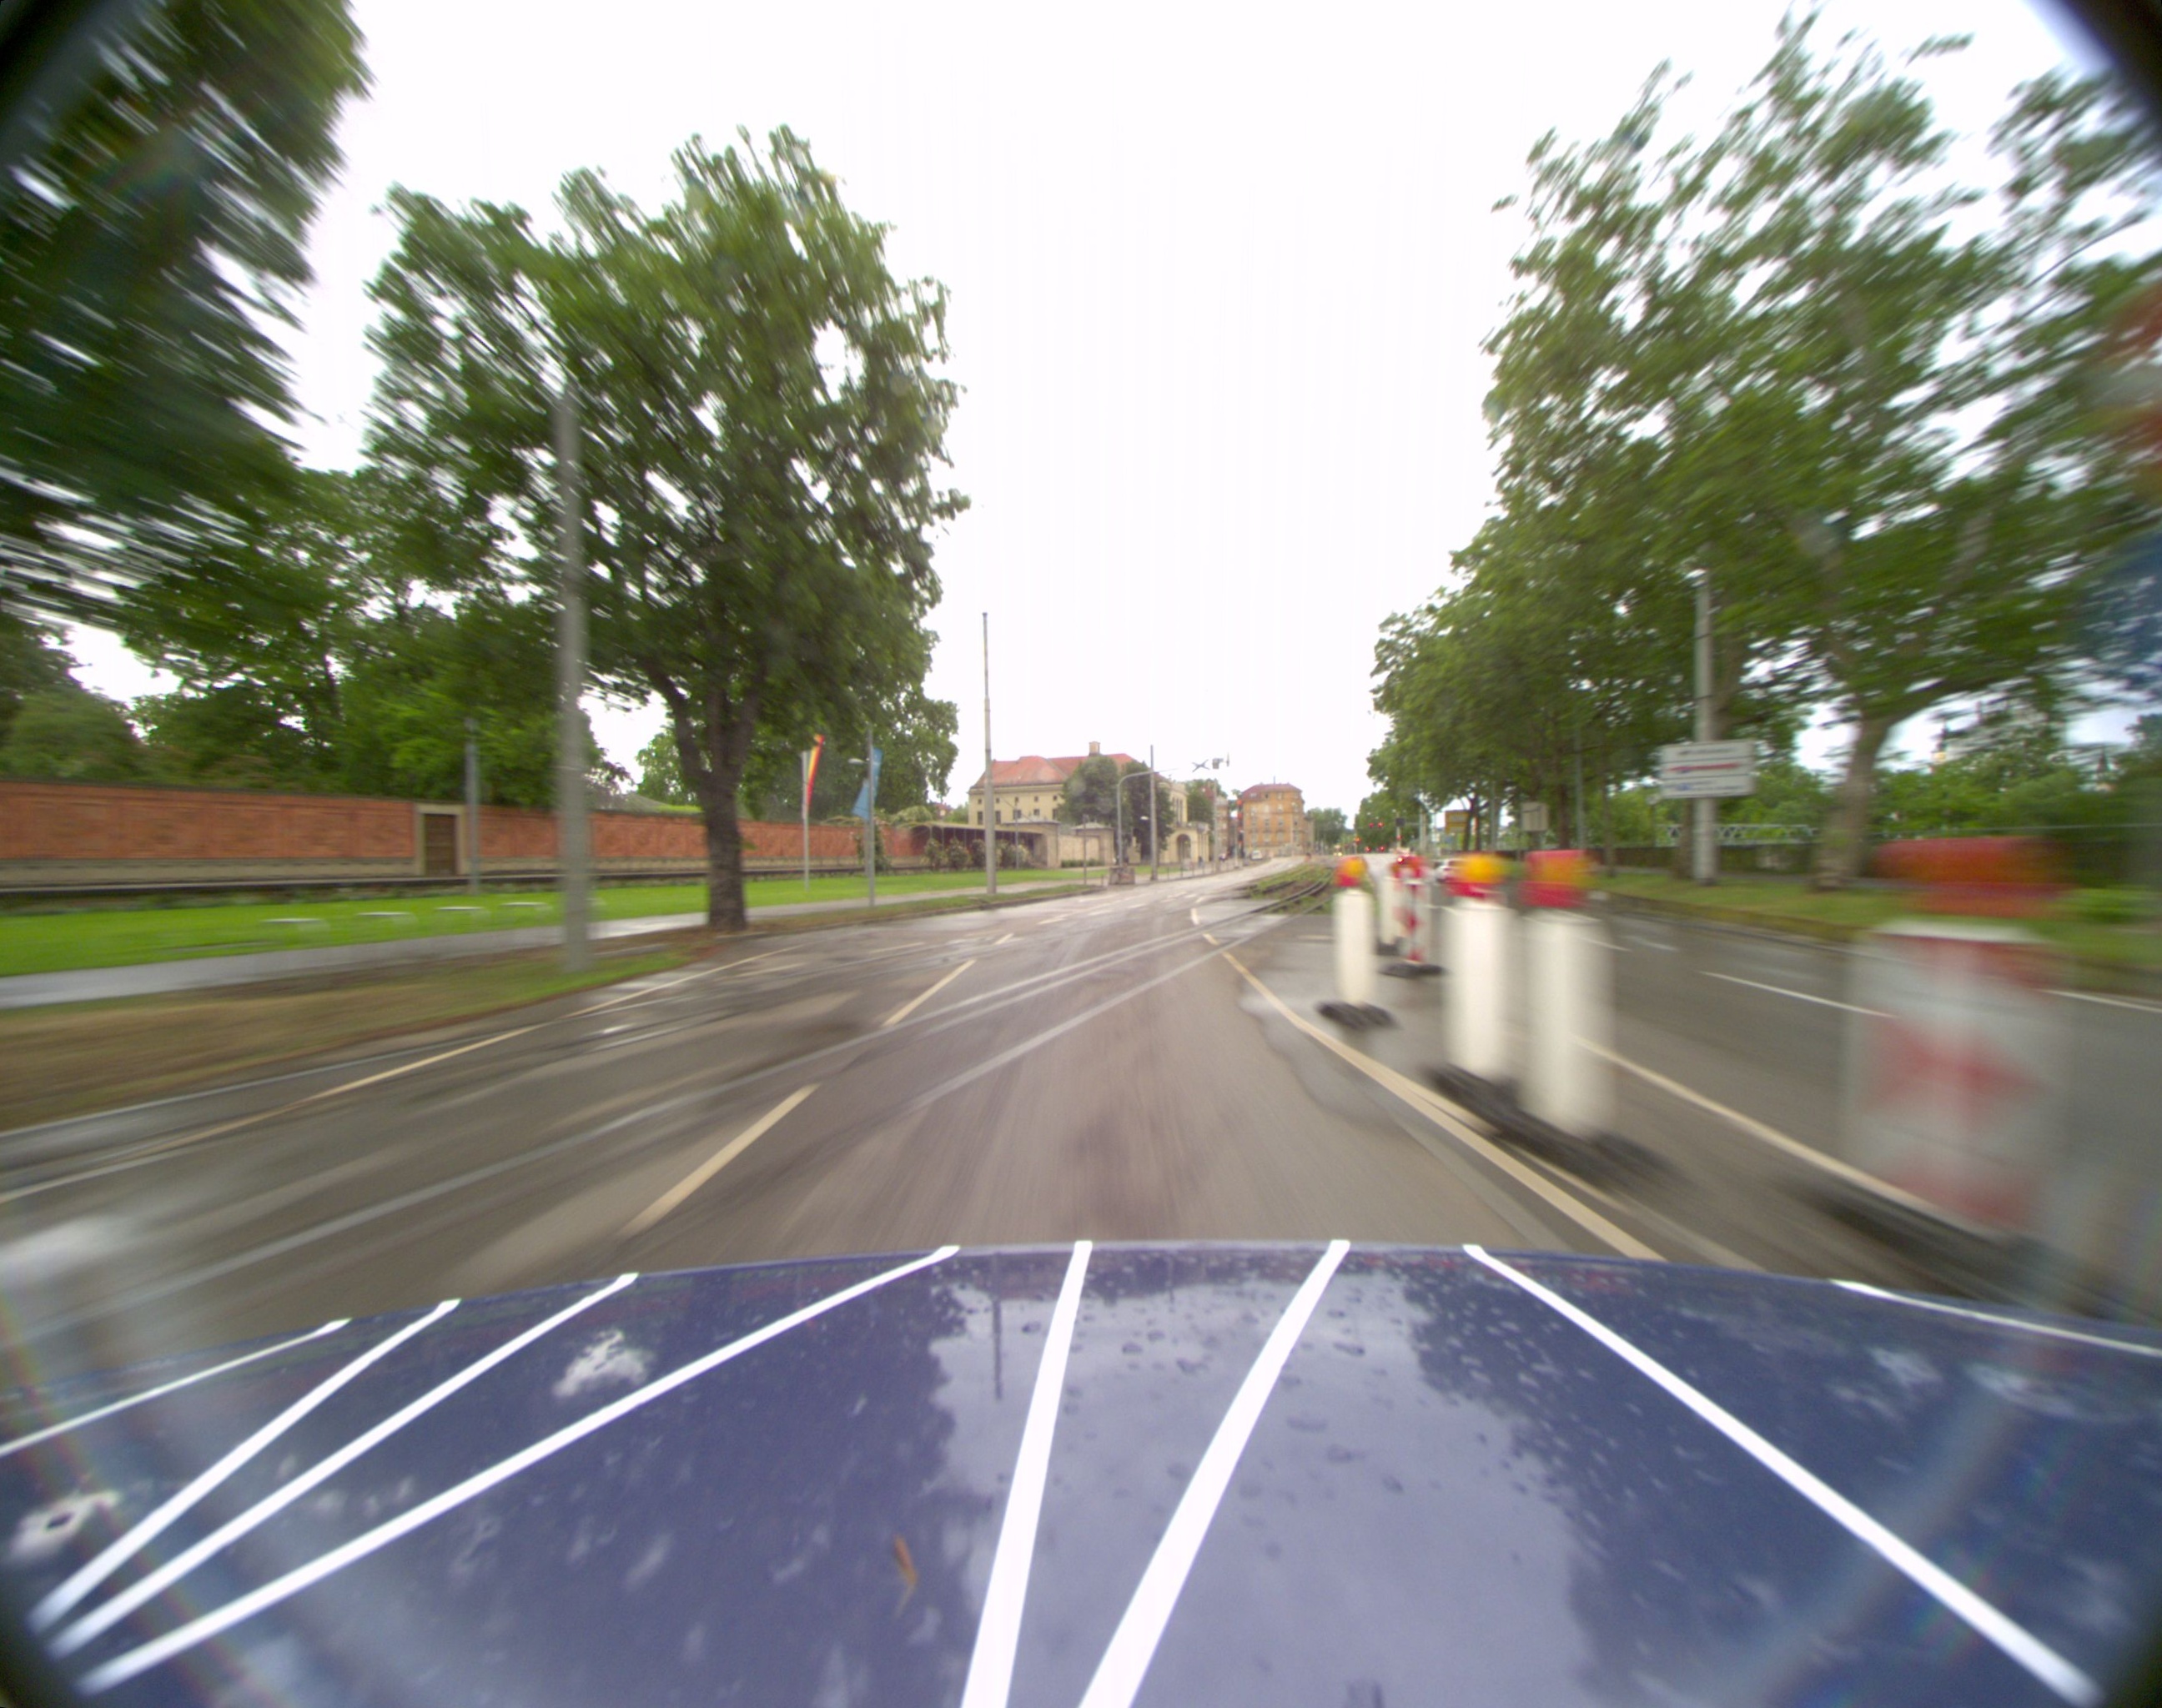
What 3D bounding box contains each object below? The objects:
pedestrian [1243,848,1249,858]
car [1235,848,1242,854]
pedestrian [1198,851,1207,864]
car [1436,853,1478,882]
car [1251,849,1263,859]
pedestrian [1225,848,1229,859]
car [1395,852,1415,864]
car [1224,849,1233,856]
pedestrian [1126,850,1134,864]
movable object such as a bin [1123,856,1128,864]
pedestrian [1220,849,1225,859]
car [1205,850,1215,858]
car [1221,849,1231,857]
[{"bbox_3d":[30.992,-0.184,142.633,0.782,1.796,0.697,-3,1,-21],"label":"pedestrian"},{"bbox_3d":[43.022,-0.859,207.770,1.828,1.573,4.003,-1,1,14],"label":"car"},{"bbox_3d":[15.329,0.473,95.538,0.670,1.581,0.863,-1,2,-45],"label":"pedestrian"},{"bbox_3d":[21.798,0.747,44.230,1.710,1.490,4.726,1,1,21],"label":"car"},{"bbox_3d":[31.814,-0.029,137.265,1.841,1.630,4.147,-4,0,15],"label":"car"},{"bbox_3d":[23.816,-0.056,123.789,0.594,1.726,0.840,-1,1,17],"label":"pedestrian"},{"bbox_3d":[37.377,0.441,87.716,1.748,1.421,4.566,0,1,18],"label":"car"},{"bbox_3d":[32.709,-0.294,168.084,1.828,1.573,4.003,-1,1,14],"label":"car"},{"bbox_3d":[5.970,0.411,92.394,0.729,1.701,0.983,0,1,20],"label":"pedestrian"},{"bbox_3d":[5.465,0.724,92.896,0.342,0.867,1.193,0,1,20],"label":"movable object such as a bin"},{"bbox_3d":[23.104,-0.039,124.001,0.628,1.635,0.781,-1,1,13],"label":"pedestrian"},{"bbox_3d":[26.973,-0.089,158.625,1.862,1.539,4.069,-2,1,13],"label":"car"},{"bbox_3d":[29.989,-0.283,157.533,1.828,1.573,4.003,-1,1,14],"label":"car"}]
